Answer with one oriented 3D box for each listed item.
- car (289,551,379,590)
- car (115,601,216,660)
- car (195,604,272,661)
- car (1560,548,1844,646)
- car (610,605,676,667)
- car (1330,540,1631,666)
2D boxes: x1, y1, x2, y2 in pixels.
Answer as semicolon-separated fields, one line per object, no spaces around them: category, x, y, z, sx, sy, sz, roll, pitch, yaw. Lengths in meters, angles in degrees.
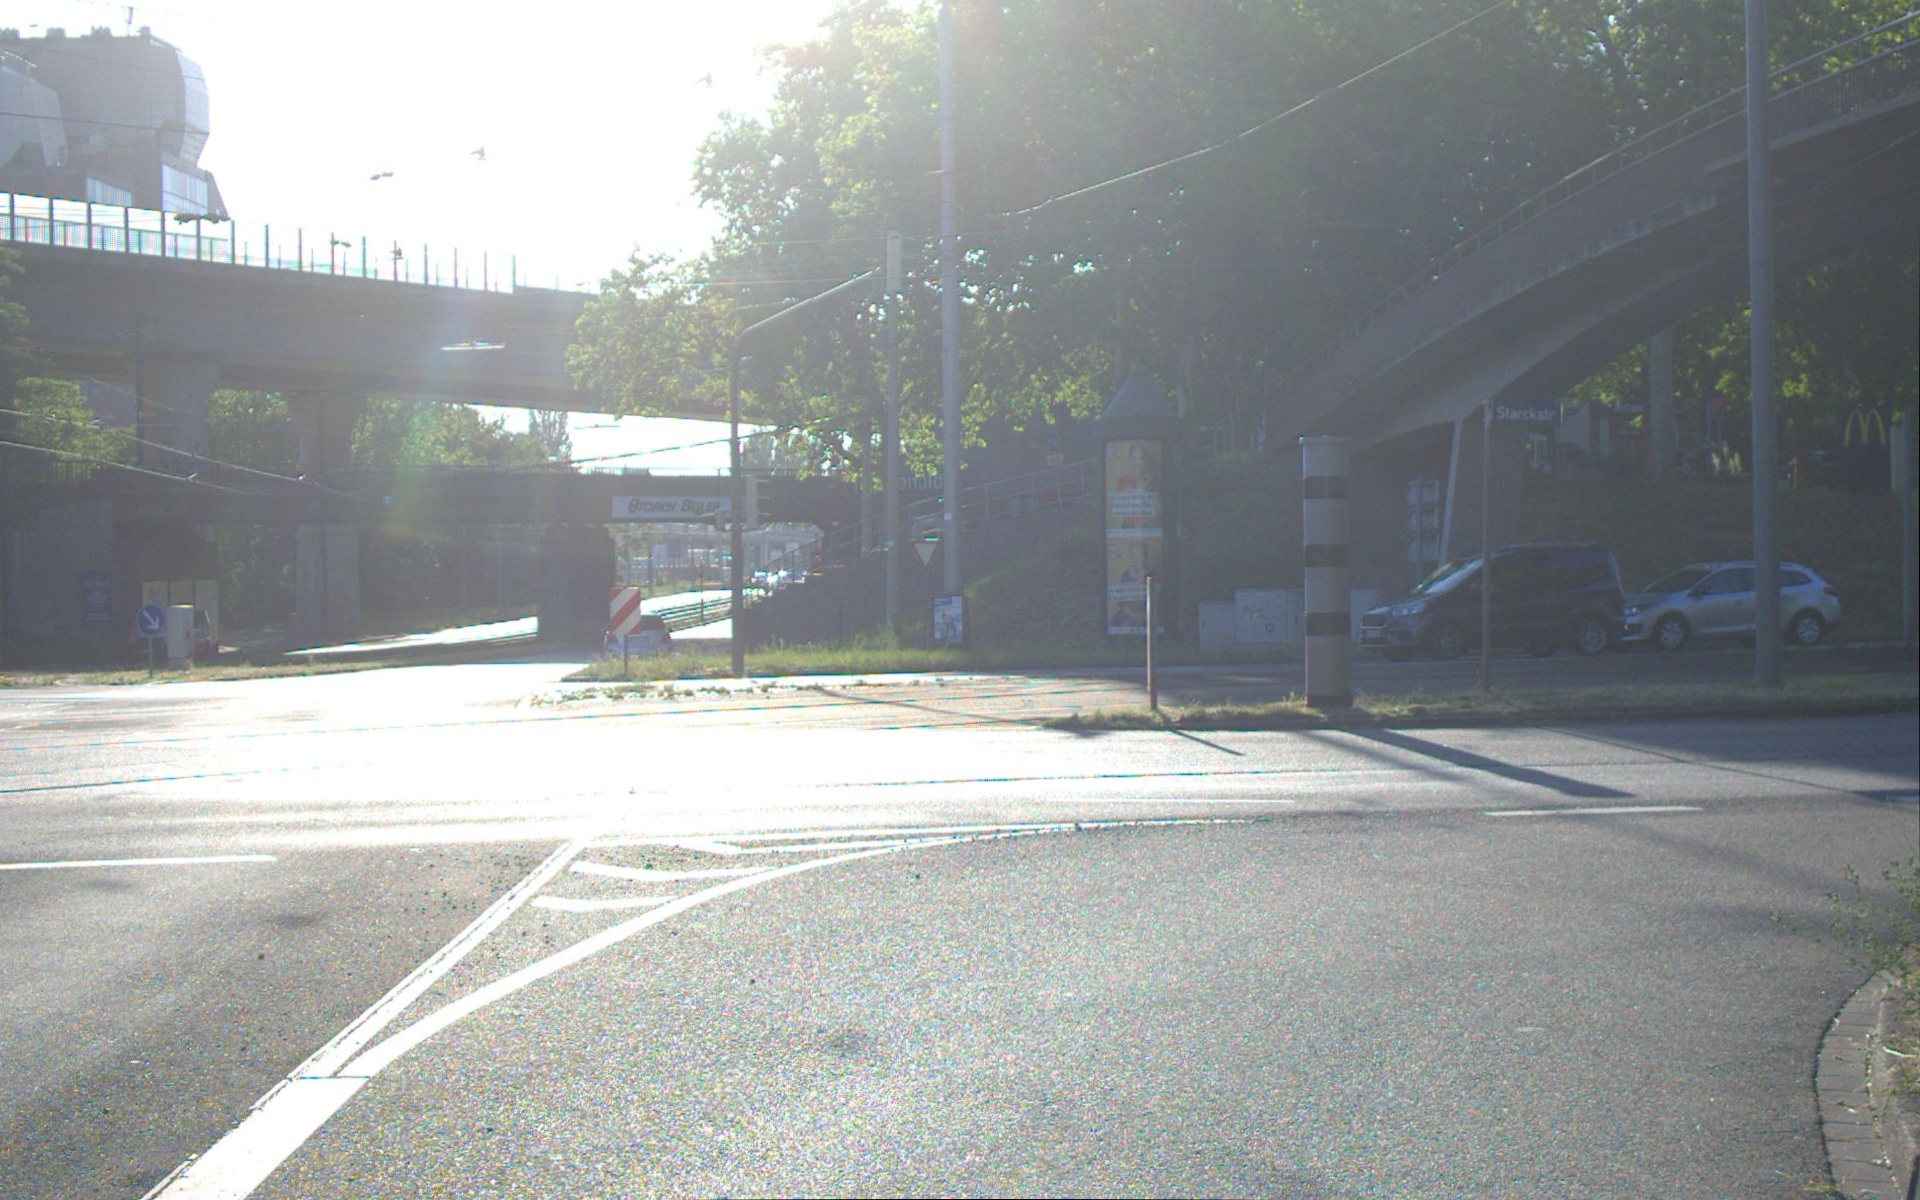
car;-29.790;-1.400;163.685;1.997;1.765;3.993;1;0;32
car;-28.672;1.087;124.248;1.994;2.007;5.425;-1;1;5
car;-21.574;0.943;102.151;1.711;1.647;4.096;0;0;-4
car;12.519;-0.065;58.019;4.355;1.603;1.857;0;0;-19
car;-8.838;0.986;96.033;1.711;1.647;4.220;0;0;-4
car;7.920;0.031;52.347;4.131;1.861;1.857;0;0;-17
